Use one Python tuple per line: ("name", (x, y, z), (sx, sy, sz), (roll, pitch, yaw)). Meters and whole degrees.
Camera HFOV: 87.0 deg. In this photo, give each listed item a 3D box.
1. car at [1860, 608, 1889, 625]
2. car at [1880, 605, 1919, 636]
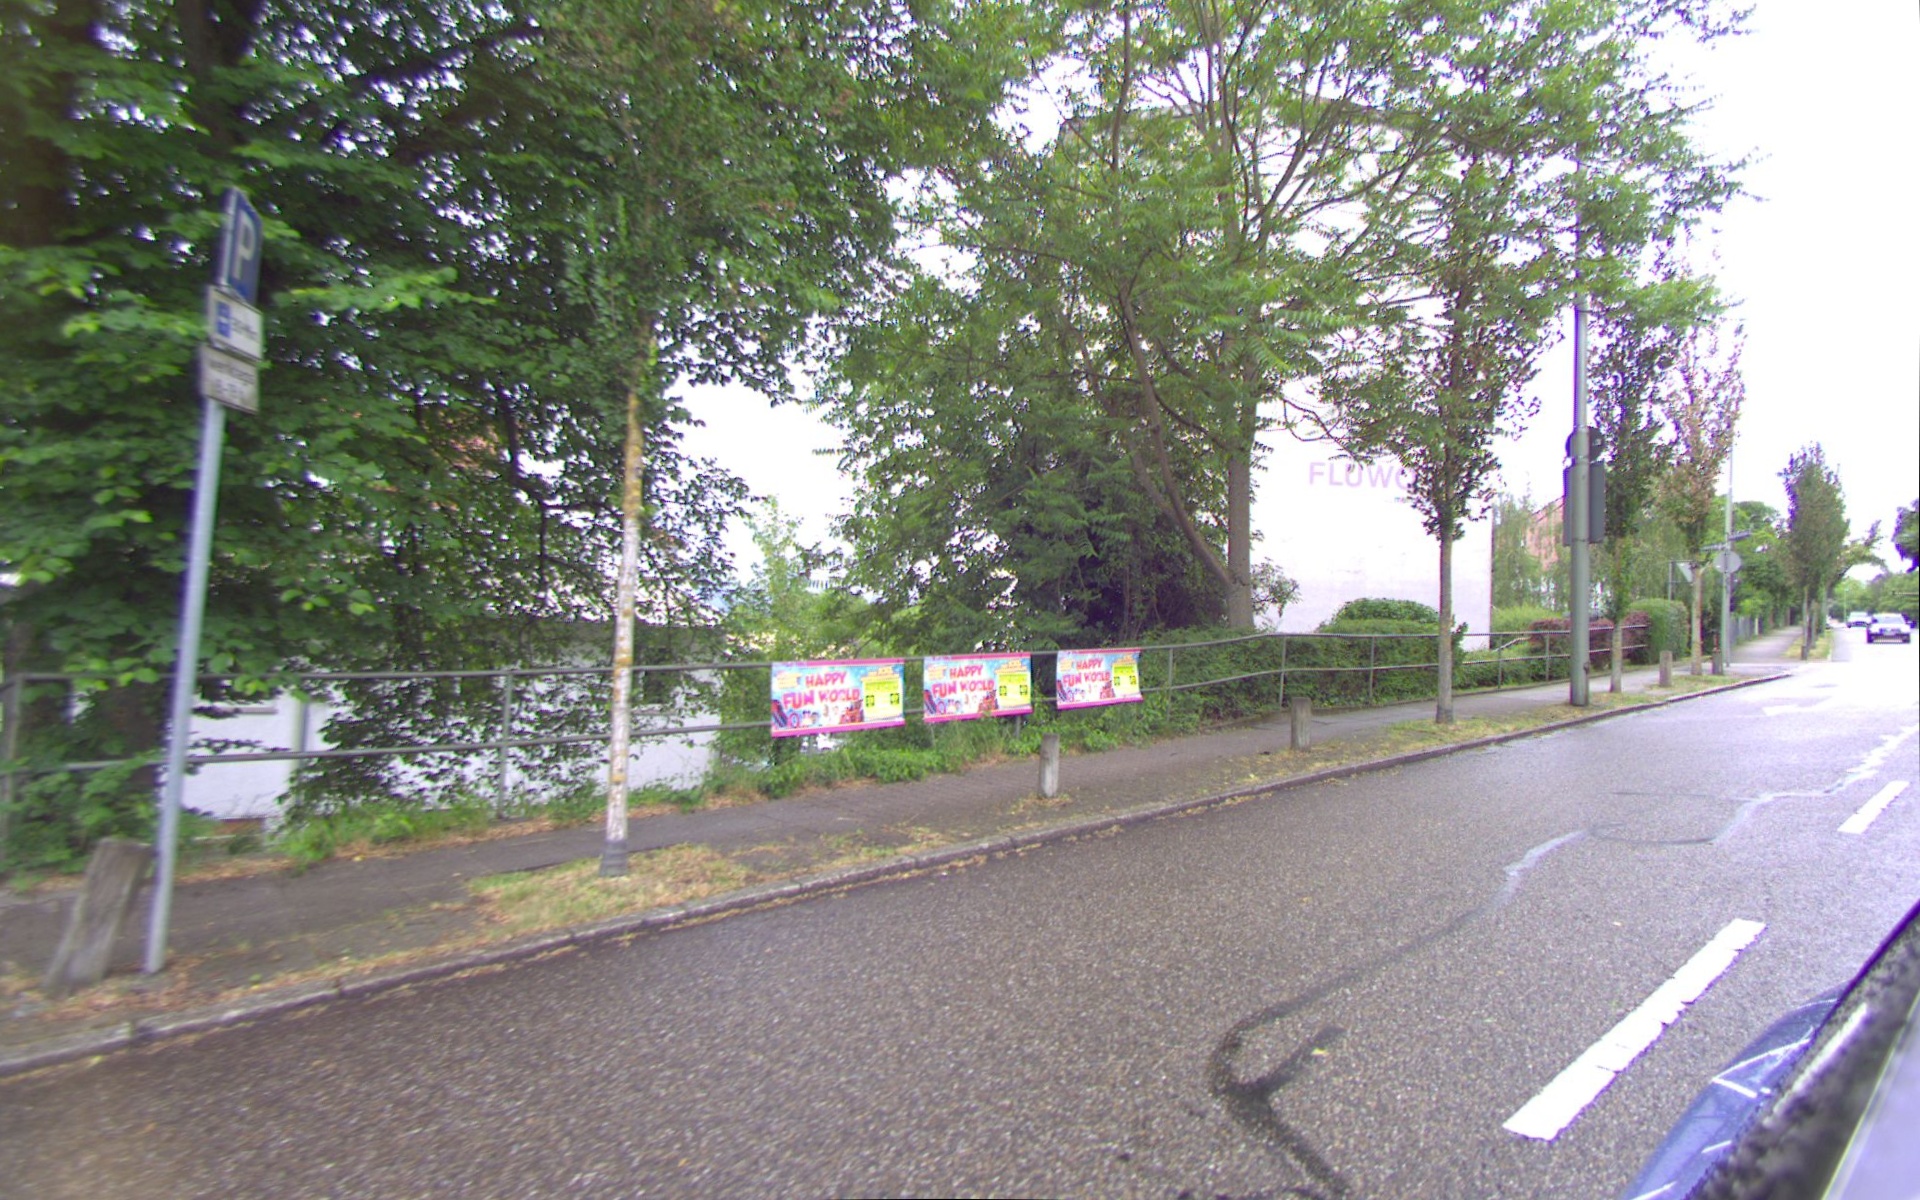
("car", (95.460, 1.685, 105.616), (4.277, 1.638, 1.832), (-1, 0, -43))
("car", (54.029, 1.155, 57.768), (4.219, 1.638, 1.832), (-1, 0, -42))
